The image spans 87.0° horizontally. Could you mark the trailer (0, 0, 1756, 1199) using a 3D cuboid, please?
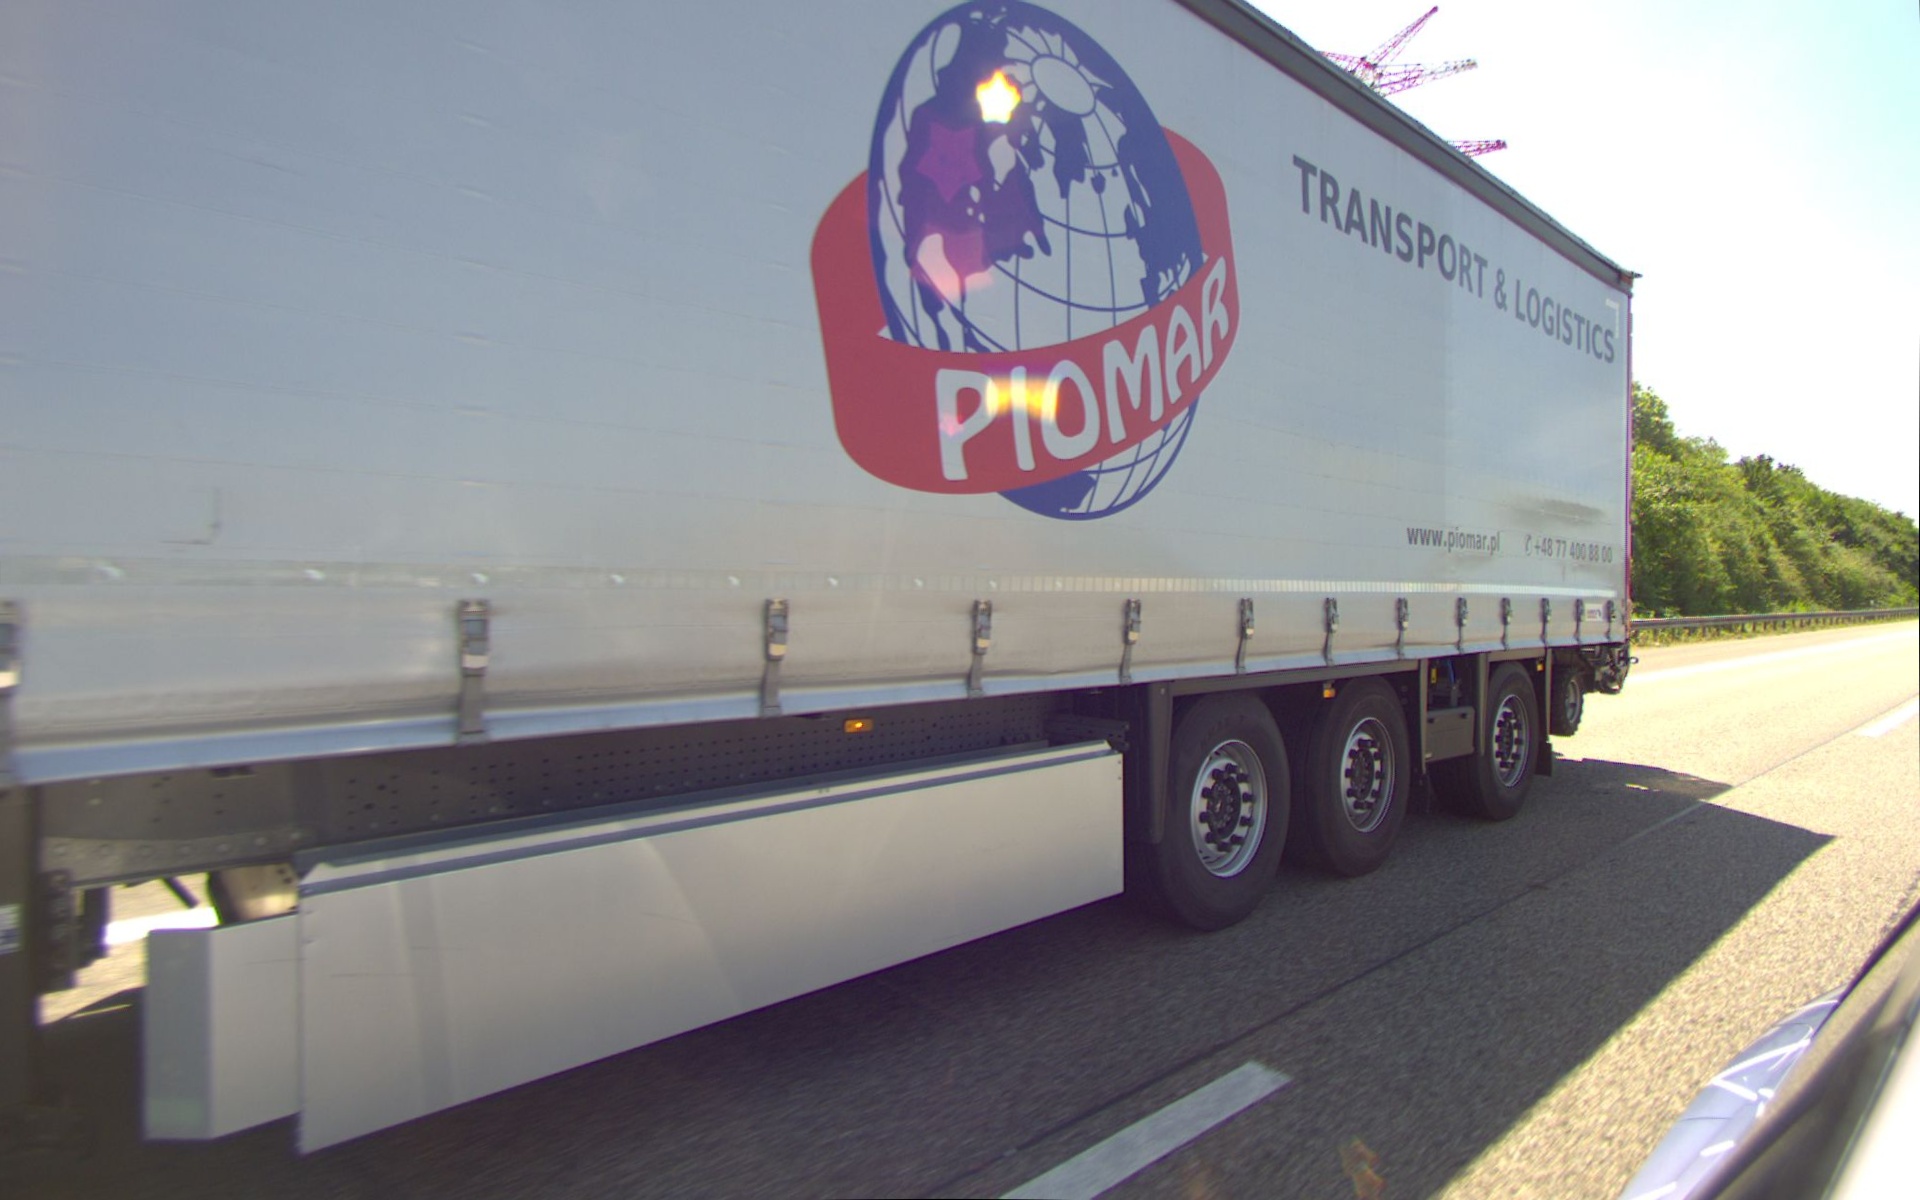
[{"bbox_3d":[1.979,-0.634,6.543,13.998,3.958,2.494,0,1,-41],"label":"trailer"}]
